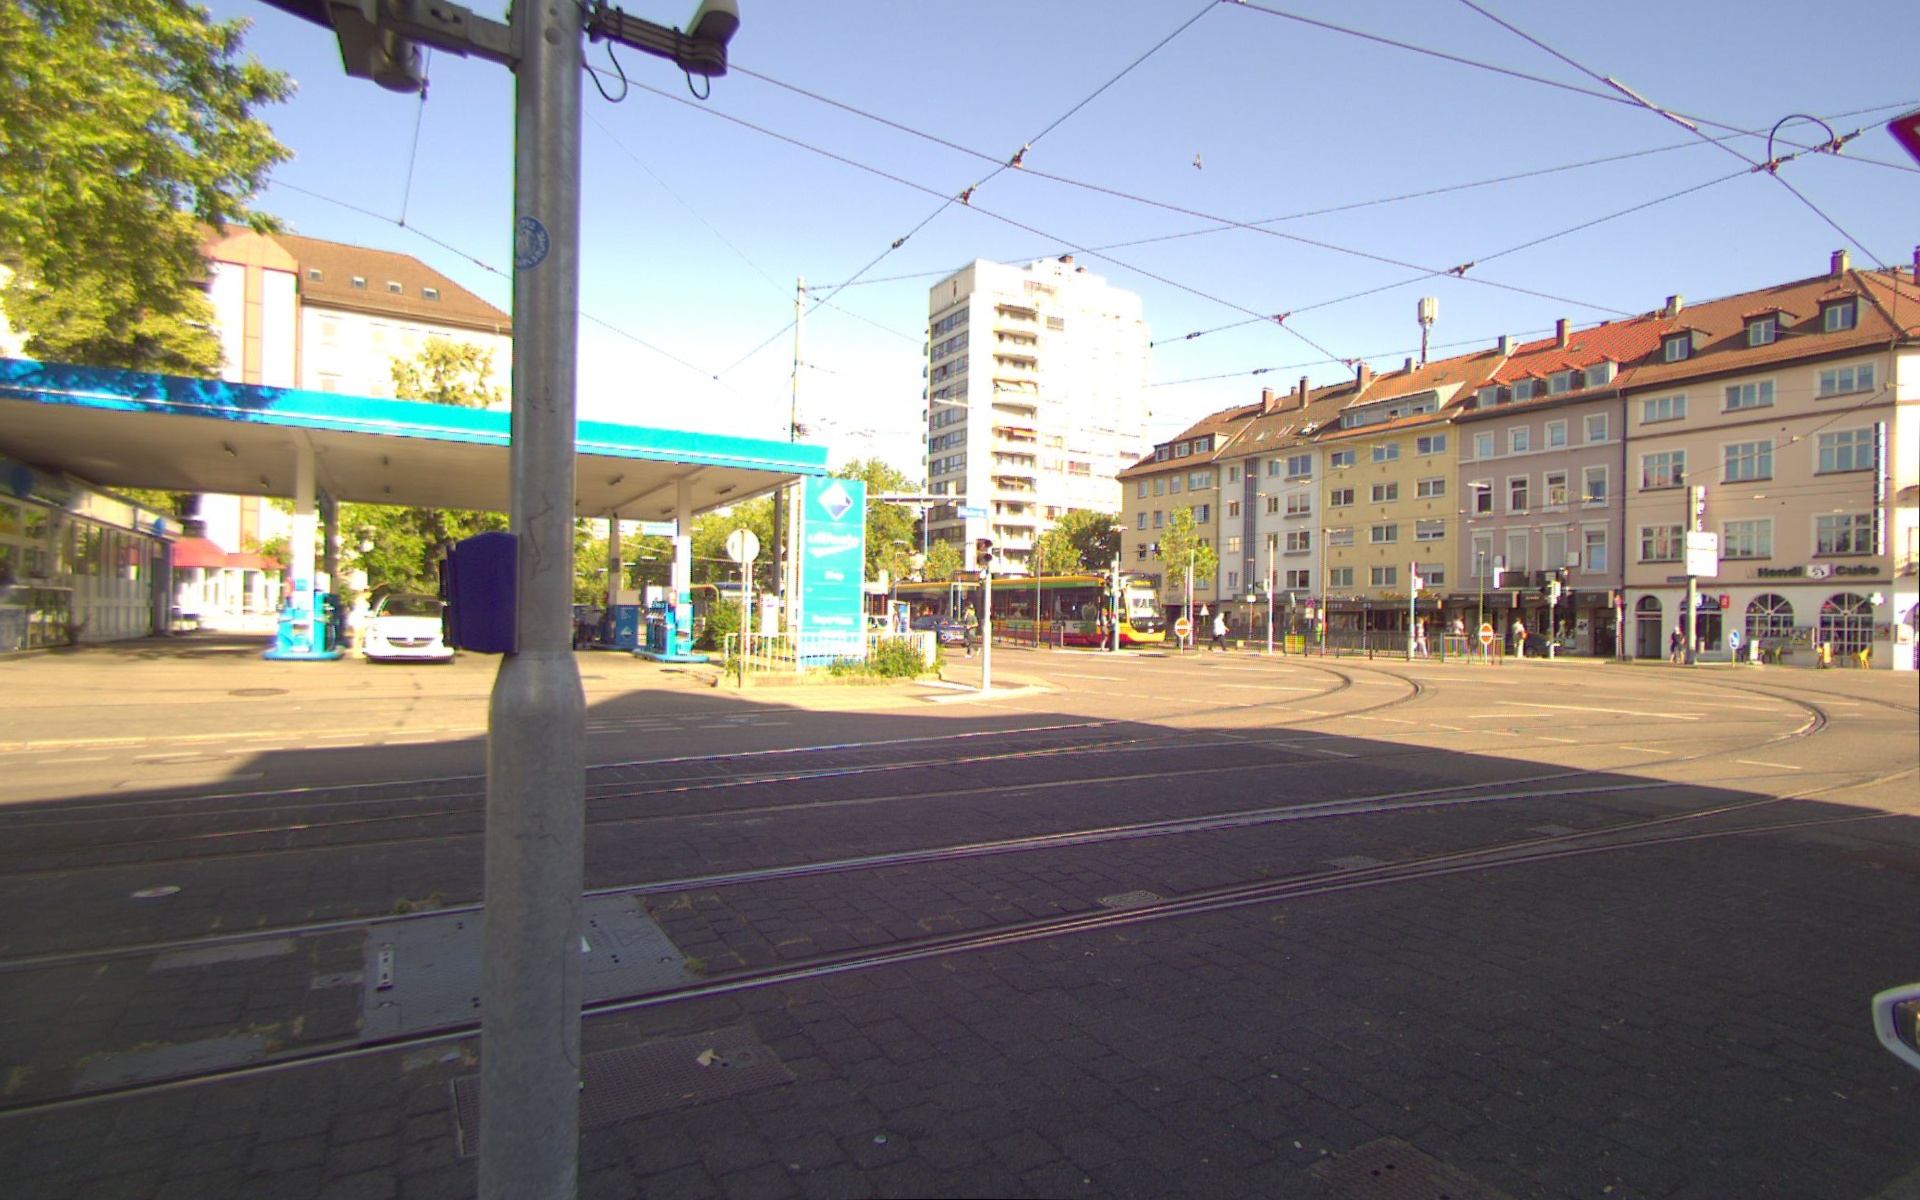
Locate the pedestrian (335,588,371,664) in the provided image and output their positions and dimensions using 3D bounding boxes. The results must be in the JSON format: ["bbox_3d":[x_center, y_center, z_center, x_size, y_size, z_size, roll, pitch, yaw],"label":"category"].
[{"bbox_3d":[-13.892,0.591,23.006,0.640,1.724,0.497,1,-1,-26],"label":"pedestrian"}]

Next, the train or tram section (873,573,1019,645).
[{"bbox_3d":[-1.205,0.552,60.655,2.907,3.864,12.716,1,-1,-30],"label":"train or tram section"}]

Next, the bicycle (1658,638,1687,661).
[{"bbox_3d":[34.078,2.369,48.037,1.479,1.091,0.570,2,0,-30],"label":"bicycle"}]

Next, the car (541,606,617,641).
[{"bbox_3d":[-16.861,1.038,44.598,1.722,1.461,3.572,1,-1,5],"label":"car"}]

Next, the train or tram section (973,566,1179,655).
[{"bbox_3d":[5.226,0.527,49.620,2.907,3.864,12.947,1,-1,-30],"label":"train or tram section"}]

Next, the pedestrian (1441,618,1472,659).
[{"bbox_3d":[19.904,1.538,40.279,0.821,1.598,0.724,2,0,-20],"label":"pedestrian"}]

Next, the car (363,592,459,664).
[{"bbox_3d":[-12.195,0.603,22.347,1.737,1.461,3.543,1,-1,-29],"label":"car"}]

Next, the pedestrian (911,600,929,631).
[{"bbox_3d":[-2.283,0.886,56.783,0.747,1.756,0.797,0,0,-28],"label":"pedestrian"}]

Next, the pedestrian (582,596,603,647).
[{"bbox_3d":[-12.569,0.726,34.332,0.493,1.724,0.497,0,-1,43],"label":"pedestrian"}]

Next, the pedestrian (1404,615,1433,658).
[{"bbox_3d":[17.664,1.402,38.694,0.817,1.598,0.552,2,0,-2],"label":"pedestrian"}]

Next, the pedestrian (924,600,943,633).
[{"bbox_3d":[-1.455,0.903,55.079,0.747,1.756,0.797,0,0,-28],"label":"pedestrian"}]

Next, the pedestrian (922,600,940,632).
[{"bbox_3d":[-1.648,0.906,57.007,0.747,1.756,0.797,0,0,-28],"label":"pedestrian"}]

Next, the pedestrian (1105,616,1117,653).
[{"bbox_3d":[6.153,1.404,40.965,0.472,1.525,0.462,0,0,6],"label":"pedestrian"}]

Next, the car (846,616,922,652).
[{"bbox_3d":[-3.587,1.550,46.735,1.871,1.550,3.963,1,-1,-33],"label":"car"}]

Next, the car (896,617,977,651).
[{"bbox_3d":[-1.161,1.614,48.365,1.875,1.550,3.955,1,-2,-39],"label":"car"}]

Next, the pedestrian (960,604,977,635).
[{"bbox_3d":[0.446,1.021,52.662,0.607,1.598,0.827,0,0,-27],"label":"pedestrian"}]

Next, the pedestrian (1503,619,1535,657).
[{"bbox_3d":[24.466,1.668,43.954,0.821,1.598,0.847,2,0,-20],"label":"pedestrian"}]

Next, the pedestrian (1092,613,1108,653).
[{"bbox_3d":[5.856,1.390,41.964,0.626,1.666,0.462,0,0,6],"label":"pedestrian"}]

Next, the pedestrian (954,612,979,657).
[{"bbox_3d":[0.248,1.294,37.970,0.752,1.702,0.555,1,-1,-33],"label":"pedestrian"}]

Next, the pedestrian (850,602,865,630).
[{"bbox_3d":[-6.625,1.021,64.957,0.747,1.756,0.797,0,0,-28],"label":"pedestrian"}]

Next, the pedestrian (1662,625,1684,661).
[{"bbox_3d":[34.109,2.073,48.050,0.743,1.692,0.579,2,0,-30],"label":"pedestrian"}]

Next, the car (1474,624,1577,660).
[{"bbox_3d":[30.824,2.289,54.846,2.277,1.734,4.350,2,0,-27],"label":"car"}]

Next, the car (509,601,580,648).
[{"bbox_3d":[-13.547,0.782,32.674,1.737,1.461,3.543,1,-1,-29],"label":"car"}]

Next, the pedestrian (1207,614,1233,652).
[{"bbox_3d":[11.255,1.410,43.504,0.867,1.598,0.665,2,0,-2],"label":"pedestrian"}]
